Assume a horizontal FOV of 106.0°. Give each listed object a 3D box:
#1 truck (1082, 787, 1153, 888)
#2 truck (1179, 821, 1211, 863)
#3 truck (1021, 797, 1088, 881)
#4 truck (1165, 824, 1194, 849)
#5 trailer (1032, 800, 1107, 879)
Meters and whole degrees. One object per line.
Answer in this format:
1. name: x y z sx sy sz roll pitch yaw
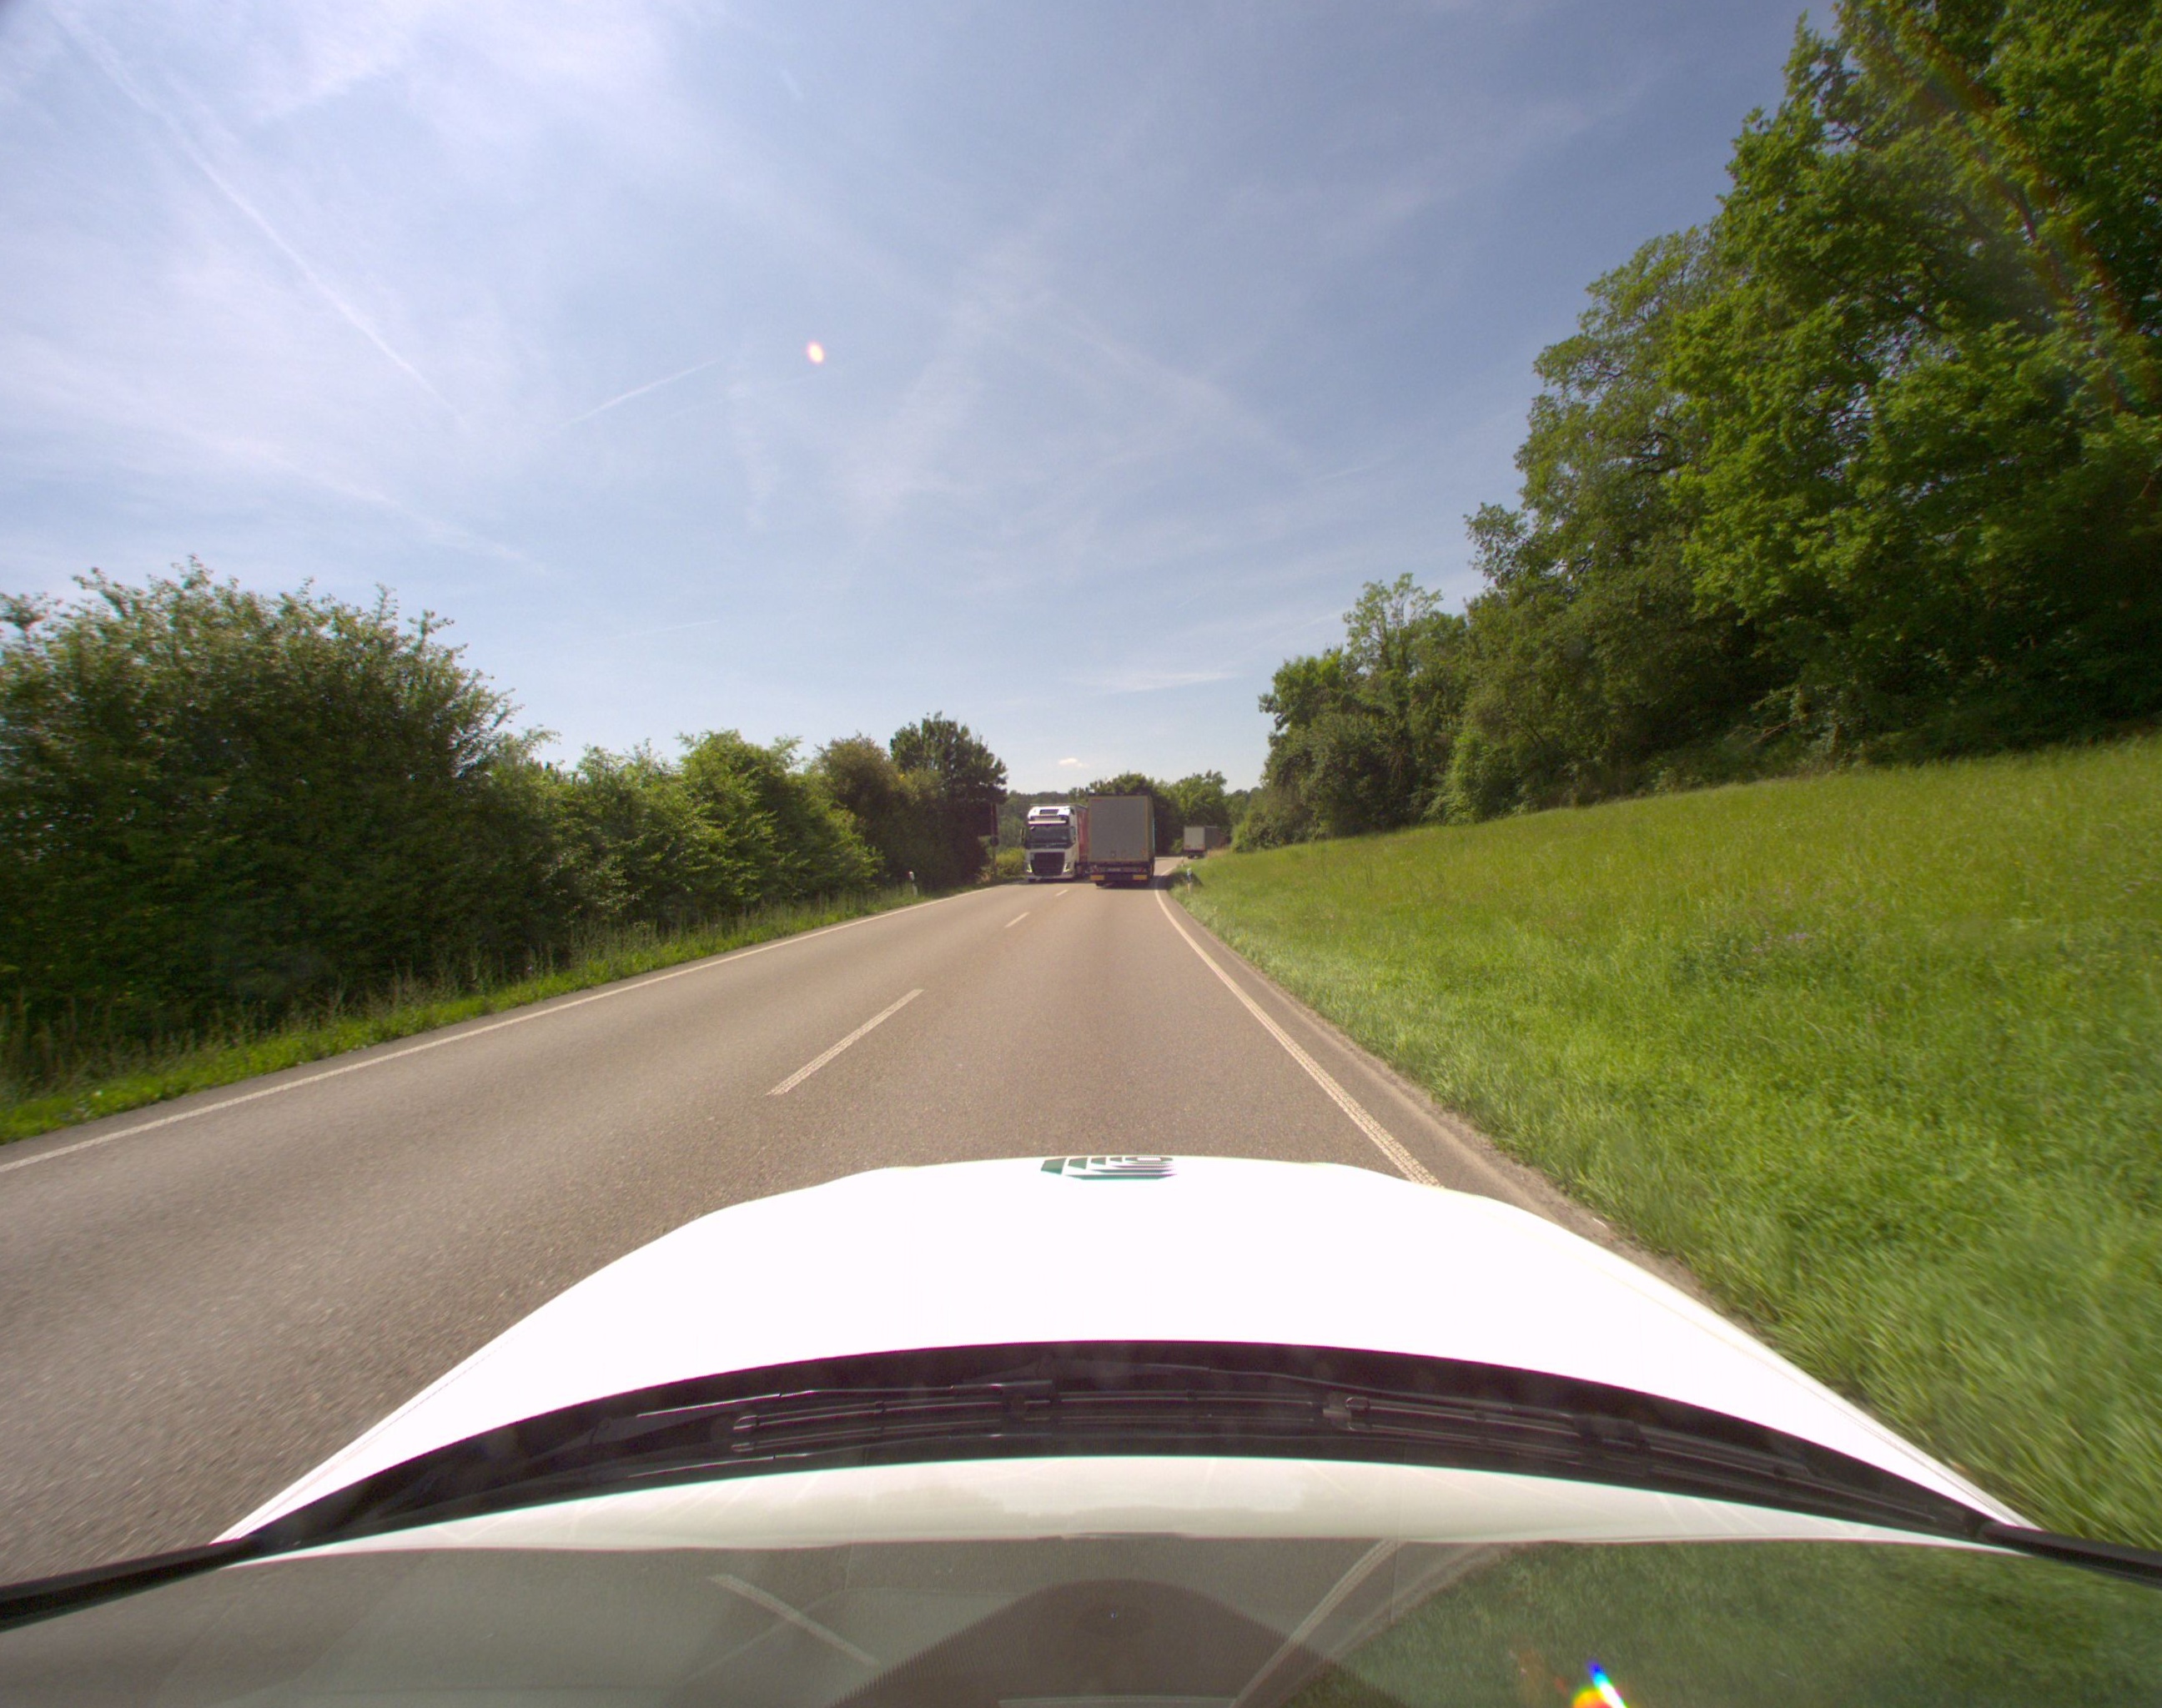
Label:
1. truck: 2.012 -0.684 41.211 2.789 4.068 15.341 -2 0 4
2. truck: 14.948 -1.686 105.485 3.086 4.704 16.635 -7 0 10
3. truck: -1.295 -0.767 43.095 2.545 4.115 5.812 0 0 7
4. truck: 14.928 -2.753 123.008 2.534 3.452 12.685 -3 1 14
5. trailer: -0.413 -0.809 49.695 2.554 4.108 13.691 0 0 8
